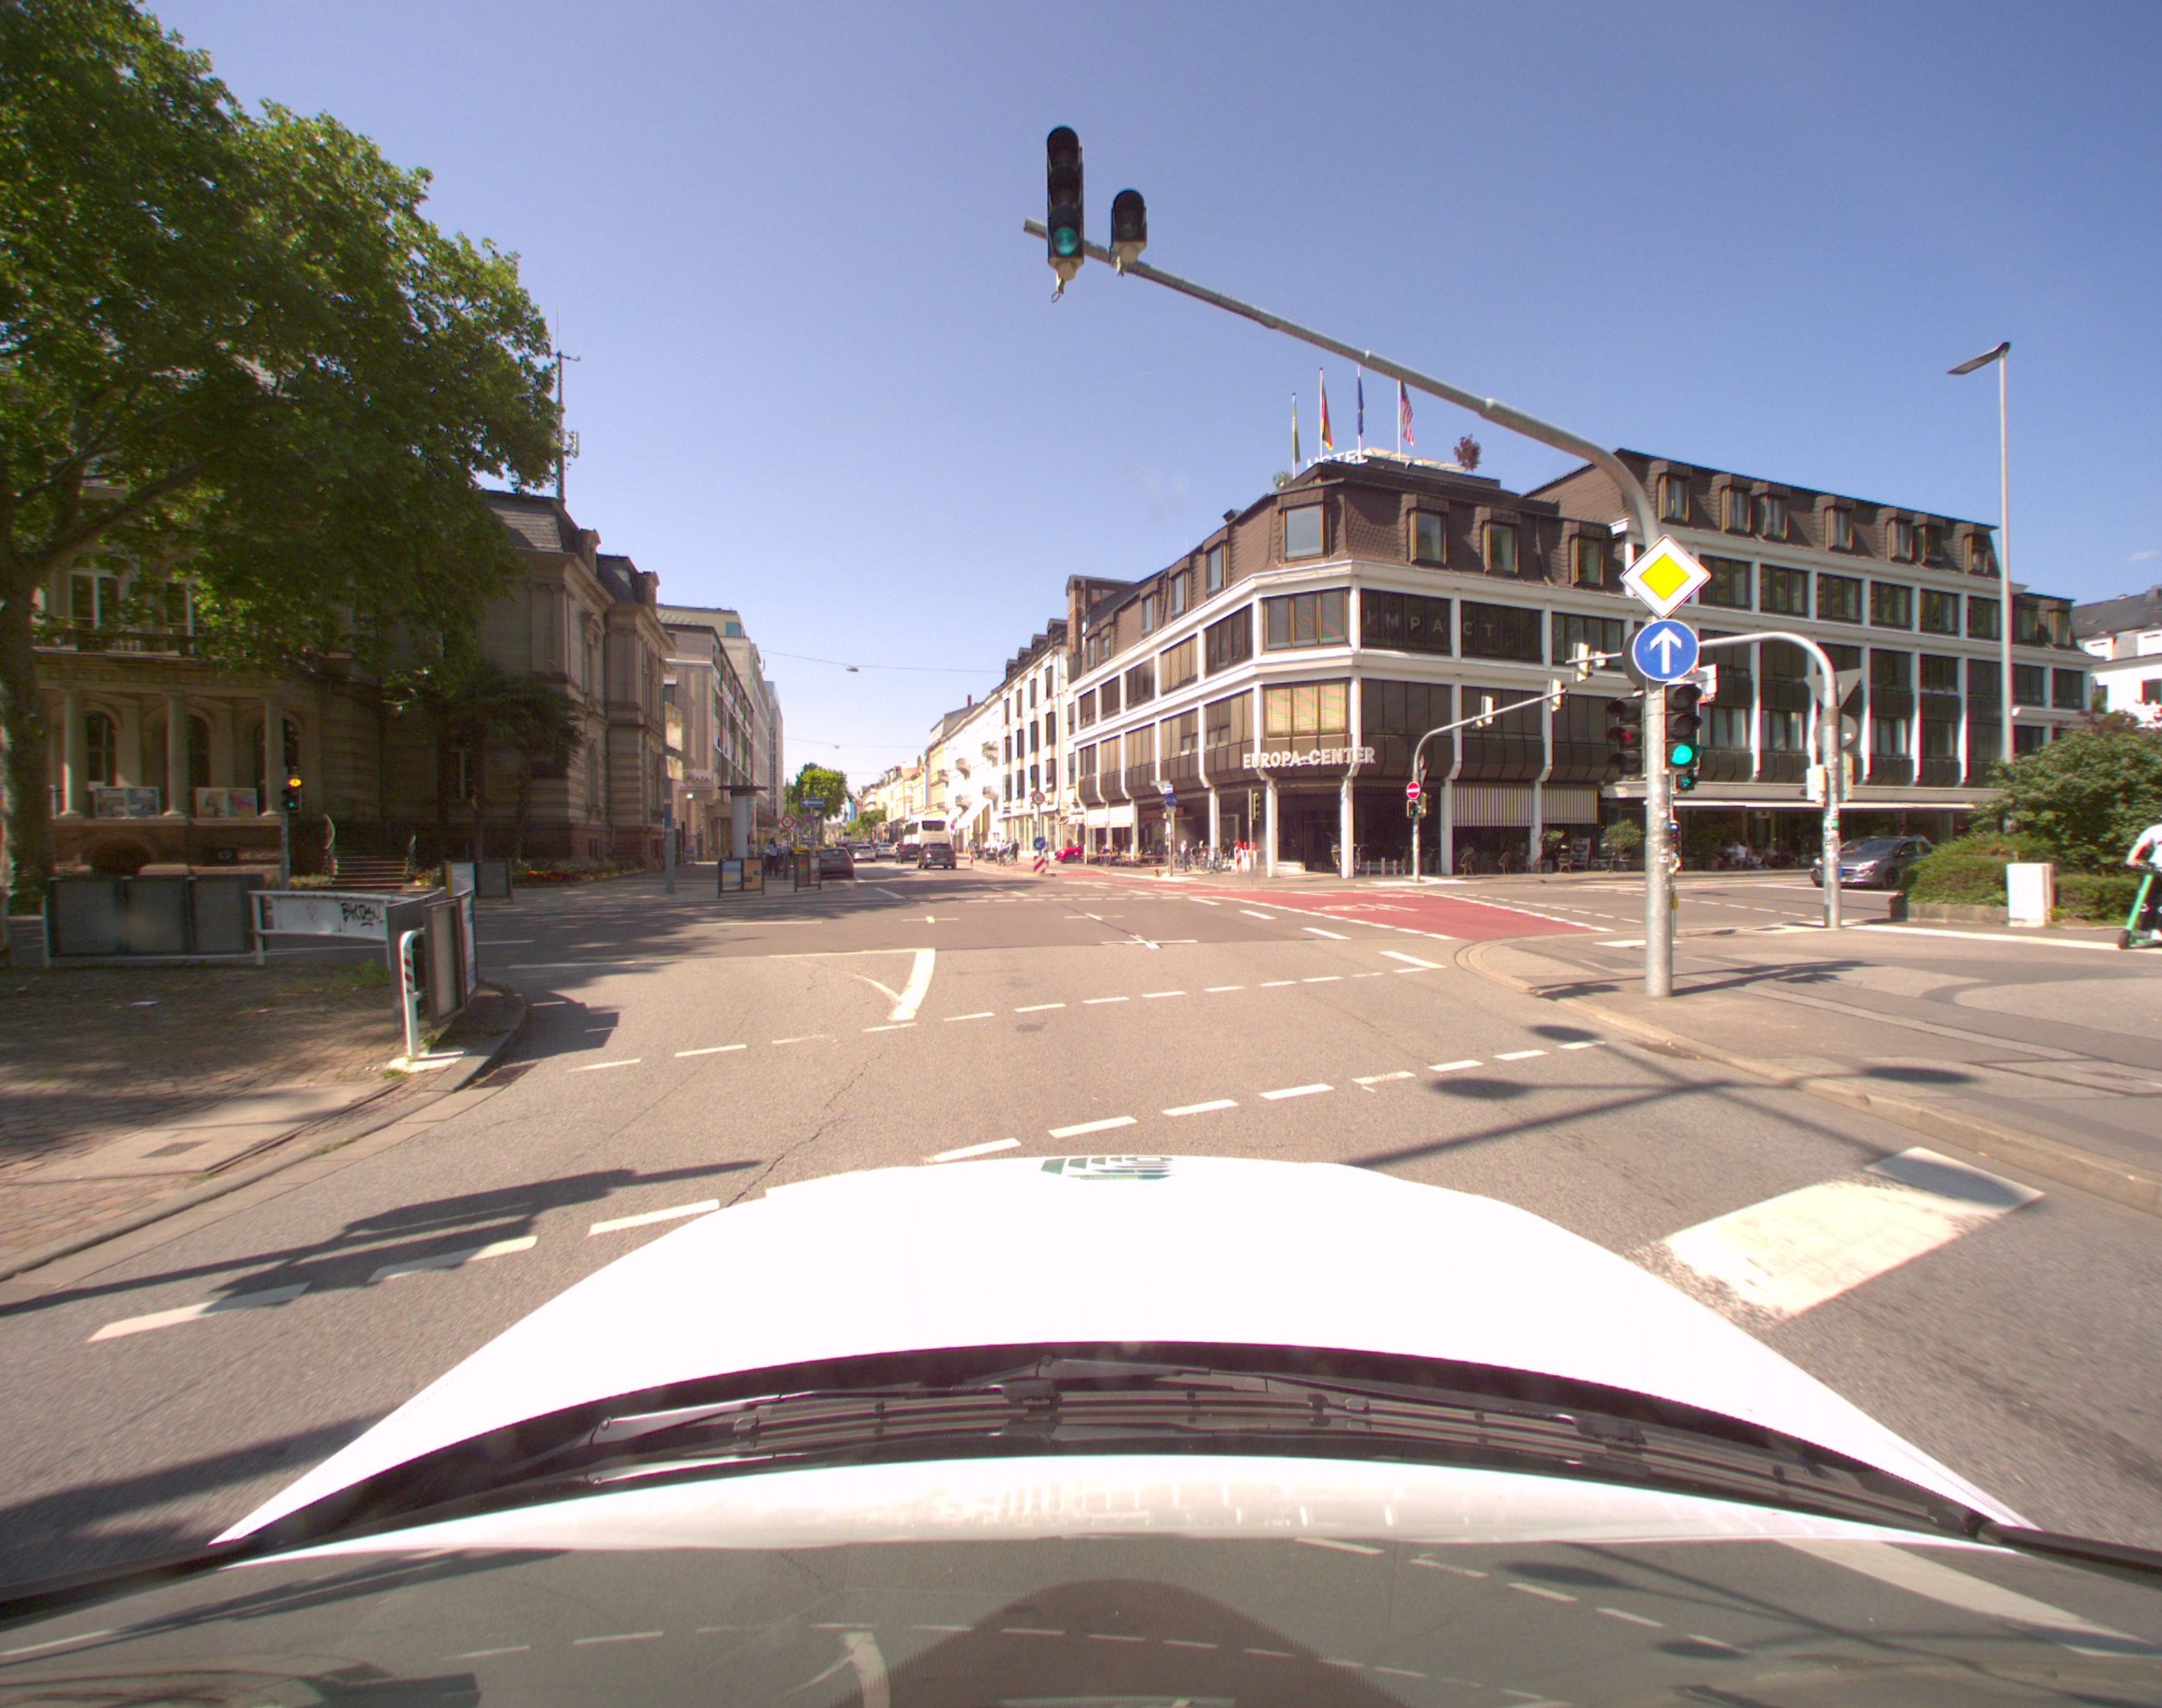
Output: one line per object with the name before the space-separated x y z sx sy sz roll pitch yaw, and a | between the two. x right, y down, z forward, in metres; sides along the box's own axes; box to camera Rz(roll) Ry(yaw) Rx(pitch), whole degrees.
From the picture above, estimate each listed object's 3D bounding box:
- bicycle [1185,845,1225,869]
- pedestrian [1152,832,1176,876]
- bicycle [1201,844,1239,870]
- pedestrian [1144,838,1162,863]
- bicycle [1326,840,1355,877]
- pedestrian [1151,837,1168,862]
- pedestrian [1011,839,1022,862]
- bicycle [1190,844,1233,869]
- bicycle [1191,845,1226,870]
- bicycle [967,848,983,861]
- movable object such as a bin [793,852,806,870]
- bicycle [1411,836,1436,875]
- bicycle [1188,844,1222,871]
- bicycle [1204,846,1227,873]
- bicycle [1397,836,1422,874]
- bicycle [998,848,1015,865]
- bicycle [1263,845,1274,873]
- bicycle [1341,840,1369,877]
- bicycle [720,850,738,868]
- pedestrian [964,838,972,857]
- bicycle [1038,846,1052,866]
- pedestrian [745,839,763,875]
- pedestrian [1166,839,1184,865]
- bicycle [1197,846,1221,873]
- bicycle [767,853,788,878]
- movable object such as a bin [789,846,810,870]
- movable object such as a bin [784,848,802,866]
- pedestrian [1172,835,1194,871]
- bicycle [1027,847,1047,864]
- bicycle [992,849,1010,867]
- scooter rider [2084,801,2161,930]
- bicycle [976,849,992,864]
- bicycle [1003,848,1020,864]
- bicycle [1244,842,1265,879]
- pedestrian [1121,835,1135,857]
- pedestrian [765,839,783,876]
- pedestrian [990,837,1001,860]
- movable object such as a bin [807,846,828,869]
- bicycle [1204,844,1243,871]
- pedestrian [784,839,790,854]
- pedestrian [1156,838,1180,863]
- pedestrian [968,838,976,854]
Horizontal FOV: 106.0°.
bicycle | 5.973 0.138 39.086 2.251 1.097 0.275 -1 1 -32
pedestrian | 3.545 0.009 34.795 0.833 1.836 0.694 -1 -1 -10
bicycle | 6.298 0.138 36.907 1.718 1.120 0.276 -2 1 -12
pedestrian | 4.176 -0.194 47.331 0.816 1.396 0.692 -1 0 -20
bicycle | 9.935 0.158 31.094 0.524 1.316 1.980 0 2 33
pedestrian | 4.498 -0.234 46.557 0.713 1.396 0.692 -1 -1 -19
pedestrian | -4.752 -0.260 59.979 0.621 1.719 0.831 0 0 -16
bicycle | 6.196 0.122 38.512 2.247 1.120 0.275 -1 1 -26
bicycle | 5.840 0.155 37.306 1.572 1.120 0.276 -2 1 -12
bicycle | -8.898 0.050 68.085 0.840 1.099 2.337 0 0 -20
movable object such as a bin | -17.840 0.445 51.635 0.726 1.098 0.651 1 1 -26
bicycle | 13.204 0.032 31.374 0.524 1.422 1.980 0 2 33
bicycle | 5.733 0.154 37.656 1.546 1.206 0.276 -1 1 -12
bicycle | 5.854 0.236 35.557 0.277 1.120 2.235 -1 1 -10
bicycle | 12.901 0.021 31.986 0.524 1.422 1.980 0 2 33
bicycle | -5.078 0.149 55.218 0.622 1.099 2.337 0 0 -20
bicycle | 7.519 0.176 32.624 0.306 1.065 1.478 -2 1 17
bicycle | 10.403 0.143 30.862 0.524 1.316 1.871 0 2 33
bicycle | -21.120 0.269 48.794 0.493 1.062 2.004 -1 0 -38
pedestrian | -11.213 -0.649 80.827 0.574 1.778 1.014 -1 -1 -15
bicycle | -2.141 0.122 48.348 0.594 1.120 1.795 -1 1 -10
pedestrian | -15.364 0.145 38.269 0.549 1.665 0.934 -1 -1 -10
pedestrian | 5.157 -0.081 44.567 0.713 1.396 0.692 -1 -1 -19
bicycle | 5.560 0.217 35.429 0.277 1.120 2.235 -1 1 -10
bicycle | -14.261 0.543 38.296 0.429 1.120 2.237 1 -1 -7
movable object such as a bin | -18.344 0.248 53.057 1.125 1.450 1.433 1 1 -13
movable object such as a bin | -20.845 0.217 58.970 1.212 1.299 1.073 1 1 -18
pedestrian | 4.734 -0.047 37.880 0.833 1.663 0.694 -1 -1 -10
bicycle | -2.791 0.086 51.728 0.622 1.099 2.337 0 0 -20
bicycle | -5.187 0.240 52.734 0.666 1.120 2.230 1 1 -18
scooter rider | 14.247 0.146 10.878 0.708 1.672 0.820 -1 -1 -14
bicycle | -7.238 0.195 60.722 0.622 1.099 2.337 0 0 -20
bicycle | -4.860 0.151 57.030 0.622 1.099 2.337 0 0 -20
bicycle | 7.090 0.268 33.234 0.372 1.063 1.483 -1 19 28
pedestrian | 2.998 -0.513 52.055 0.746 1.367 0.580 -1 1 -20
pedestrian | -14.342 0.155 38.017 0.696 1.695 0.687 -1 -1 -16
pedestrian | -6.496 -0.420 61.784 0.622 1.719 0.830 -1 1 -18
movable object such as a bin | -17.243 0.222 53.317 1.125 1.450 1.433 1 1 -13
bicycle | 6.379 0.156 36.520 1.718 1.120 0.276 -2 1 -12
pedestrian | -33.998 -0.872 94.063 0.568 1.657 0.632 -1 1 -22
pedestrian | 4.841 -0.178 45.470 0.898 1.351 1.098 -1 -1 -19
pedestrian | -10.962 -0.832 81.819 0.646 1.617 0.817 -1 0 -16
